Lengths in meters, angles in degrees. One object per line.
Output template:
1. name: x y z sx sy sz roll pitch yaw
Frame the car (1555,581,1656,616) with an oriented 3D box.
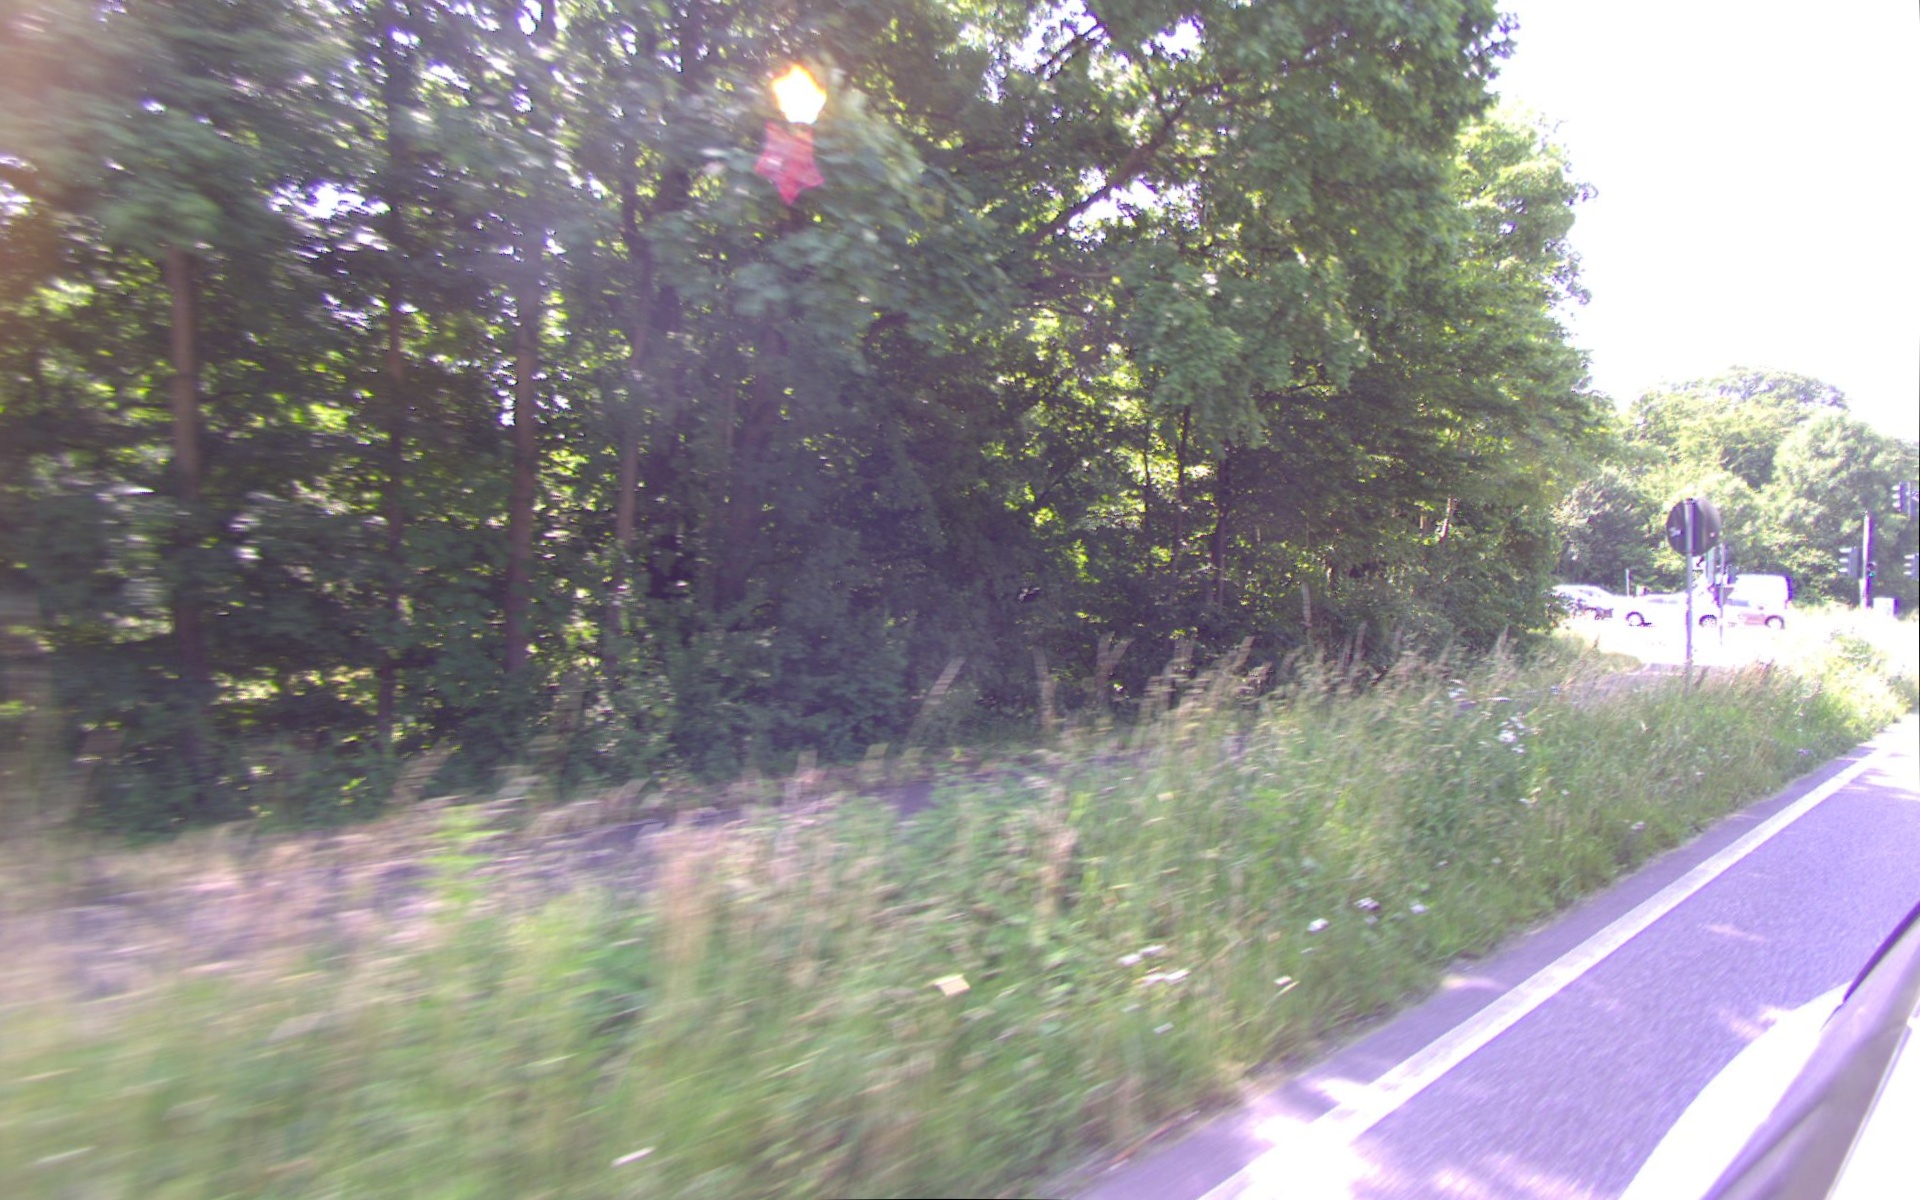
1. car: 34.662 -0.105 54.416 1.964 1.679 4.182 0 2 -39

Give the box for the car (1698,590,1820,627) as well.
1. car: 36.609 0.364 46.442 1.961 1.465 4.099 0 2 -41

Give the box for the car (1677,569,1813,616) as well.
1. car: 45.997 -0.463 59.438 5.971 2.679 1.967 1 0 15

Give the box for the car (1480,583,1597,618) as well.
1. car: 28.997 -0.002 50.837 2.074 1.517 4.628 0 3 -39

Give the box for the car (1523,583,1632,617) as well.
1. car: 32.127 -0.025 52.759 2.085 1.554 4.430 -1 3 -40

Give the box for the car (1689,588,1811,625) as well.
1. car: 38.779 0.289 49.772 1.965 1.554 4.428 0 2 -41

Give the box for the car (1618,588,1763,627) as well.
1. car: 32.792 0.305 45.552 1.984 1.517 4.945 -1 2 -39
